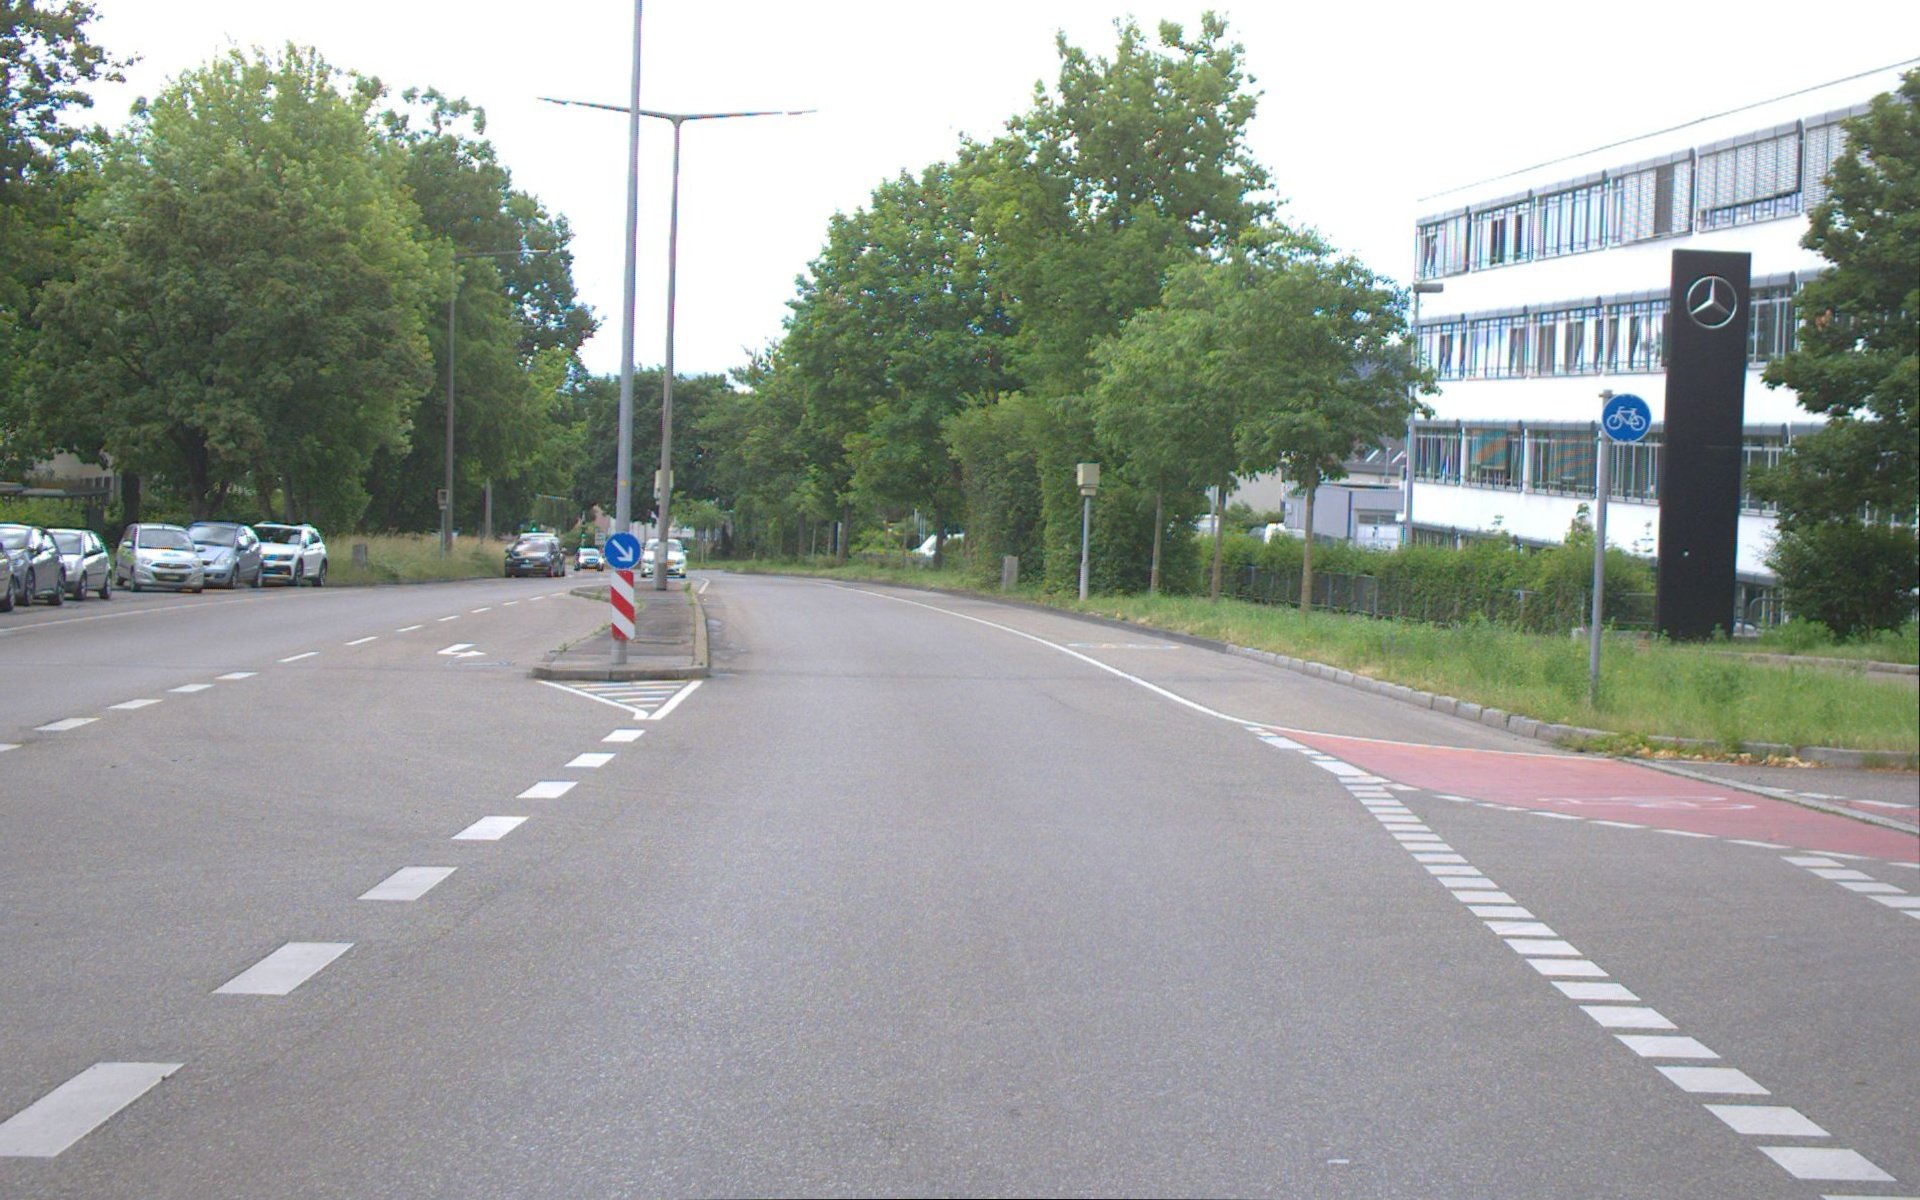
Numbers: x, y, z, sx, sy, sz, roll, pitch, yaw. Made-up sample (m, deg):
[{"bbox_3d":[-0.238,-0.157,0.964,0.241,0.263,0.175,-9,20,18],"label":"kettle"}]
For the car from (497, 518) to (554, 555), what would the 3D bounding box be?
[{"bbox_3d":[-16.357,-2.411,129.574,1.771,1.300,4.001,2,1,-3],"label":"car"}]

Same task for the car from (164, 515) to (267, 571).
[{"bbox_3d":[-18.416,-1.419,85.157,1.672,1.300,4.000,2,1,-1],"label":"car"}]

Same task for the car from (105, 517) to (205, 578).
[{"bbox_3d":[-18.797,-1.245,80.169,1.672,1.300,4.001,2,1,-21],"label":"car"}]

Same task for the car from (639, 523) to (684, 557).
[{"bbox_3d":[-11.902,-2.411,137.178,1.611,1.300,4.001,2,1,-3],"label":"car"}]

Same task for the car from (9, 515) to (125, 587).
[{"bbox_3d":[-18.413,-1.027,71.027,1.672,1.398,4.001,2,1,-6],"label":"car"}]

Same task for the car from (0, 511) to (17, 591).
[{"bbox_3d":[-17.595,-0.862,59.652,1.672,1.398,4.001,2,1,-5],"label":"car"}]

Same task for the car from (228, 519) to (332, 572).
[{"bbox_3d":[-17.802,-1.429,90.163,1.673,1.300,4.000,2,1,4],"label":"car"}]

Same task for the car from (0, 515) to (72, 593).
[{"bbox_3d":[-18.153,-0.897,65.674,1.672,1.398,4.001,2,1,-6],"label":"car"}]

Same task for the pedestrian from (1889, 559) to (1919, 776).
[{"bbox_3d":[6.874,0.464,23.299,0.788,1.458,0.749,1,1,-21],"label":"pedestrian"}]
